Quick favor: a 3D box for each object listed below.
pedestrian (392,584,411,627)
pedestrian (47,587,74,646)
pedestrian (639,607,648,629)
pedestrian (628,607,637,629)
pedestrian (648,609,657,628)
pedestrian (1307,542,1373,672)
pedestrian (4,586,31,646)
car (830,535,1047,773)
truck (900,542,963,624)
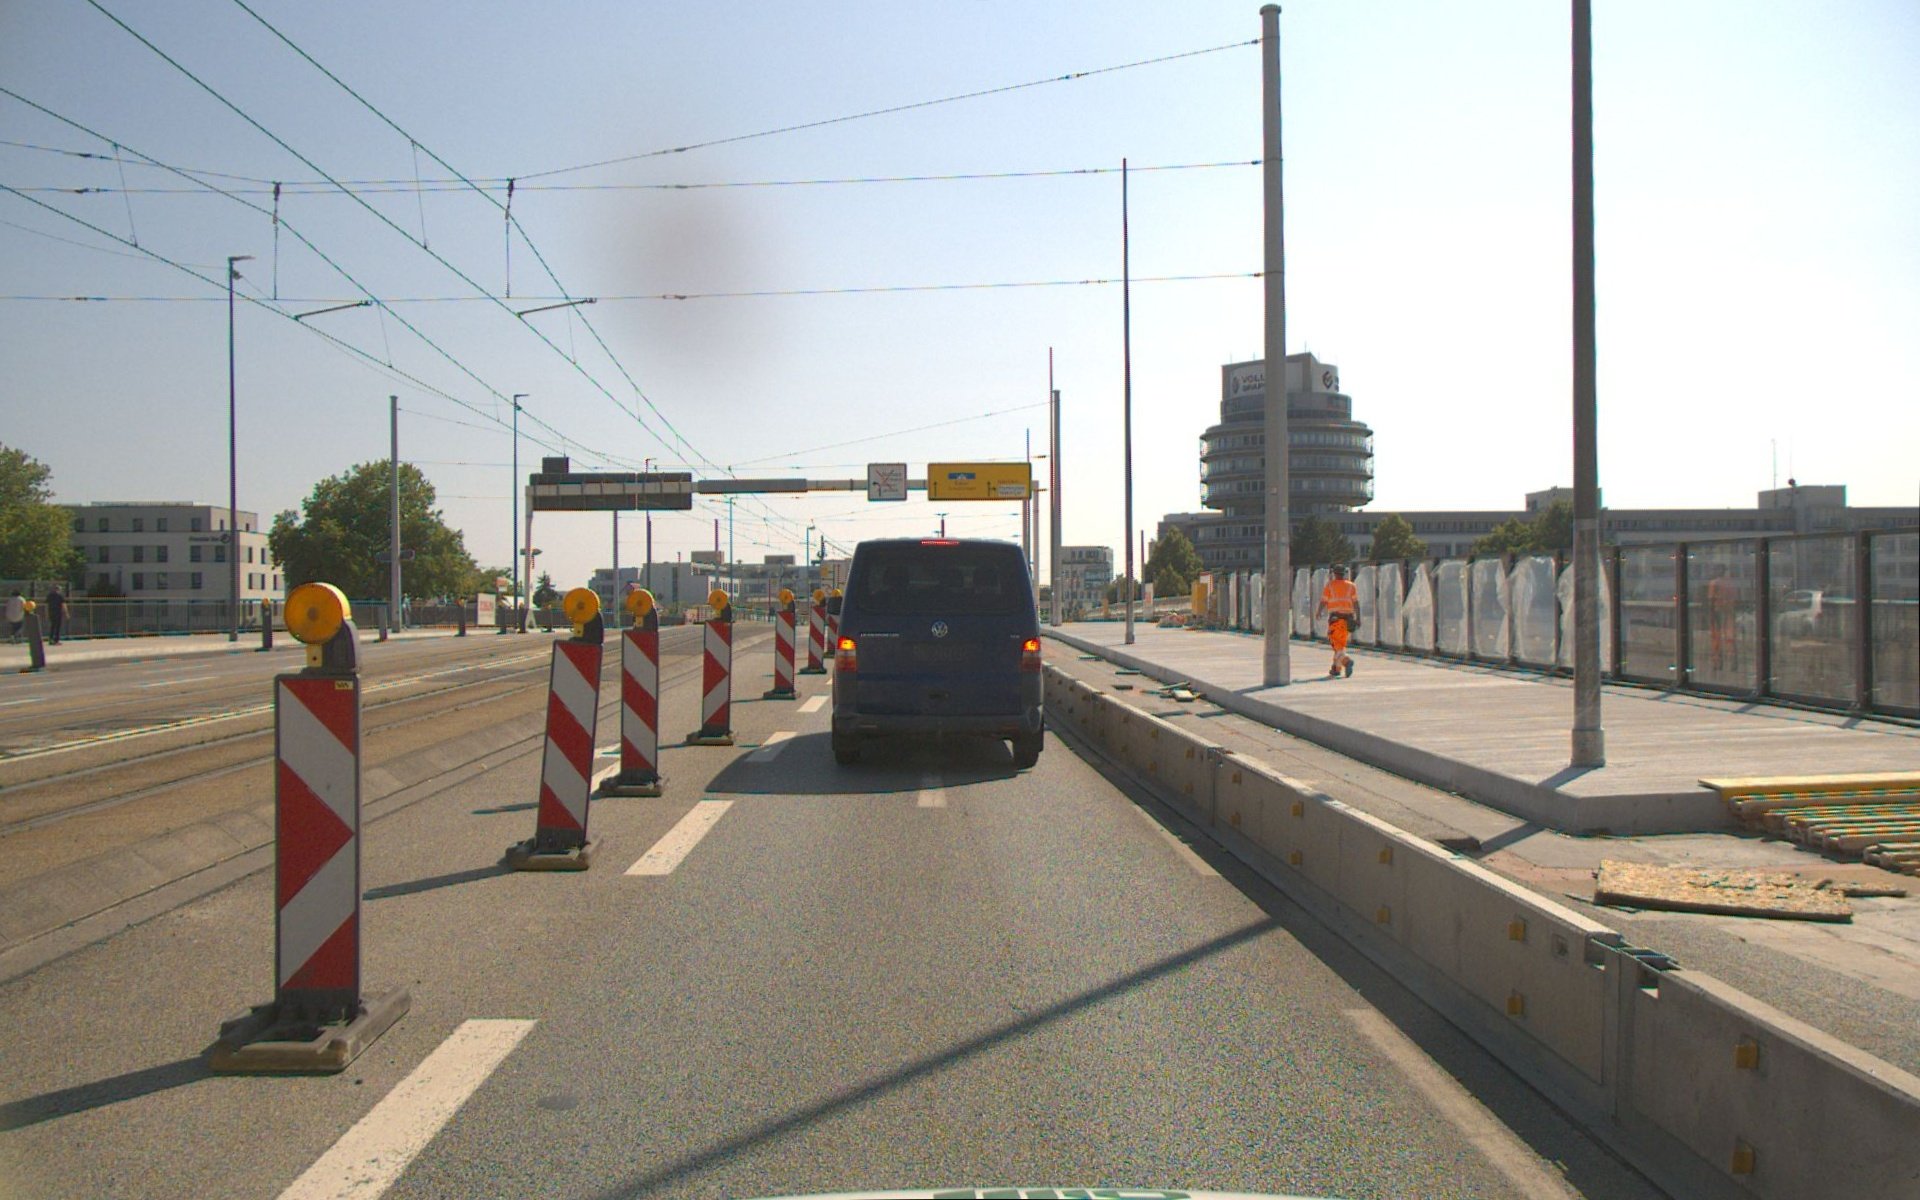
[{"bbox_3d":[-24.893,0.232,73.721,0.621,1.926,0.752,0,0,-2],"label":"pedestrian"},{"bbox_3d":[-26.140,0.481,48.061,0.485,1.724,0.474,1,-1,-2],"label":"pedestrian"},{"bbox_3d":[-25.729,1.465,134.544,0.621,1.805,0.752,0,0,-2],"label":"pedestrian"},{"bbox_3d":[-26.631,1.444,134.525,0.621,1.783,0.752,0,0,-2],"label":"pedestrian"},{"bbox_3d":[-25.486,1.538,137.152,0.621,1.626,0.752,0,0,-2],"label":"pedestrian"},{"bbox_3d":[5.929,0.113,25.816,0.766,1.969,0.799,-2,-1,-2],"label":"pedestrian"},{"bbox_3d":[-27.385,0.461,48.076,0.485,1.724,0.474,1,-1,-2],"label":"pedestrian"},{"bbox_3d":[-0.271,0.419,15.650,1.779,1.939,4.052,0,1,-3],"label":"car"},{"bbox_3d":[-1.243,-0.773,70.125,2.410,3.189,11.213,-1,1,-1],"label":"truck"}]
